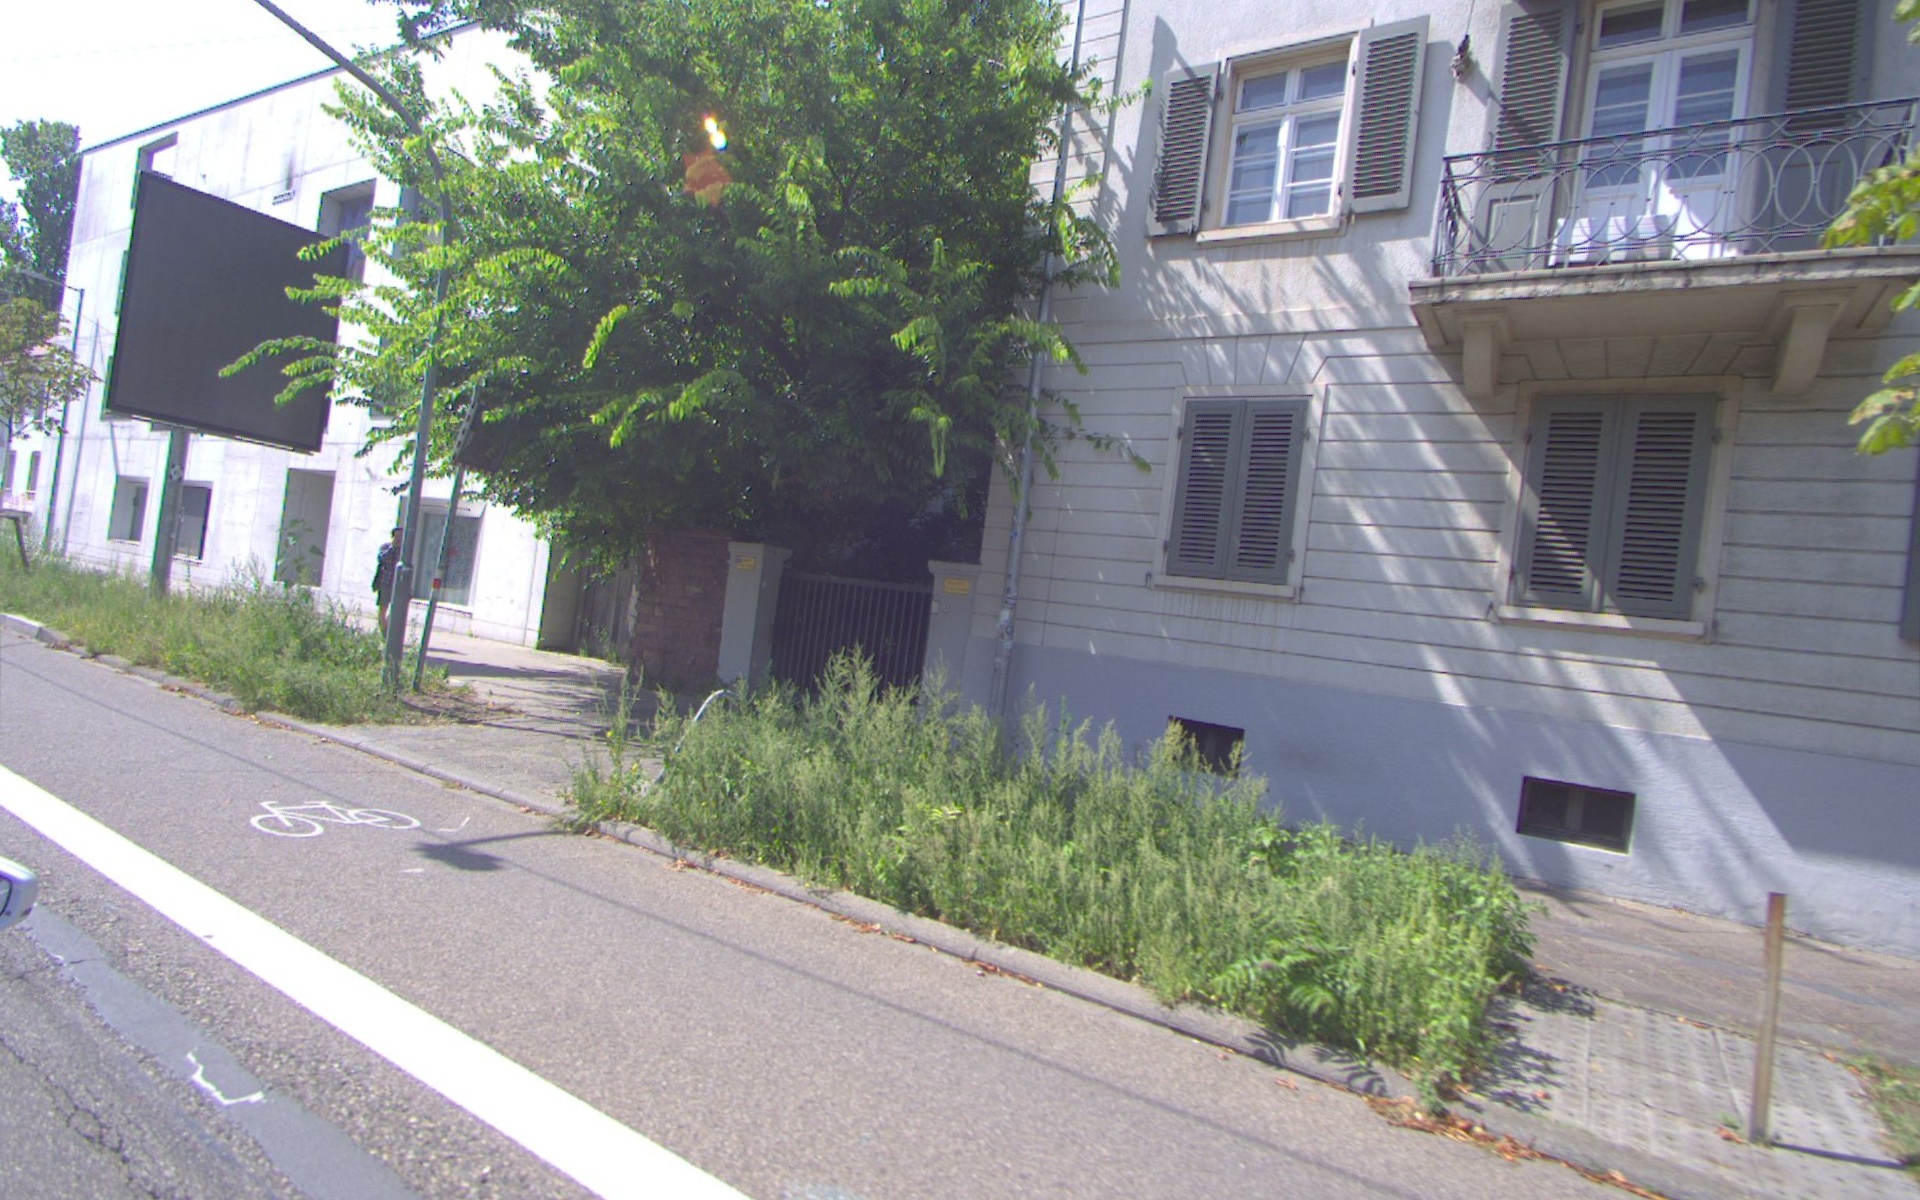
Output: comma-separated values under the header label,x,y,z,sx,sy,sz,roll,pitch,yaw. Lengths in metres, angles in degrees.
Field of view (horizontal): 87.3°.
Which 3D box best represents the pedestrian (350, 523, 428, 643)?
label,x,y,z,sx,sy,sz,roll,pitch,yaw
pedestrian,-8.829,-0.255,15.555,0.570,1.752,0.692,7,-1,35
